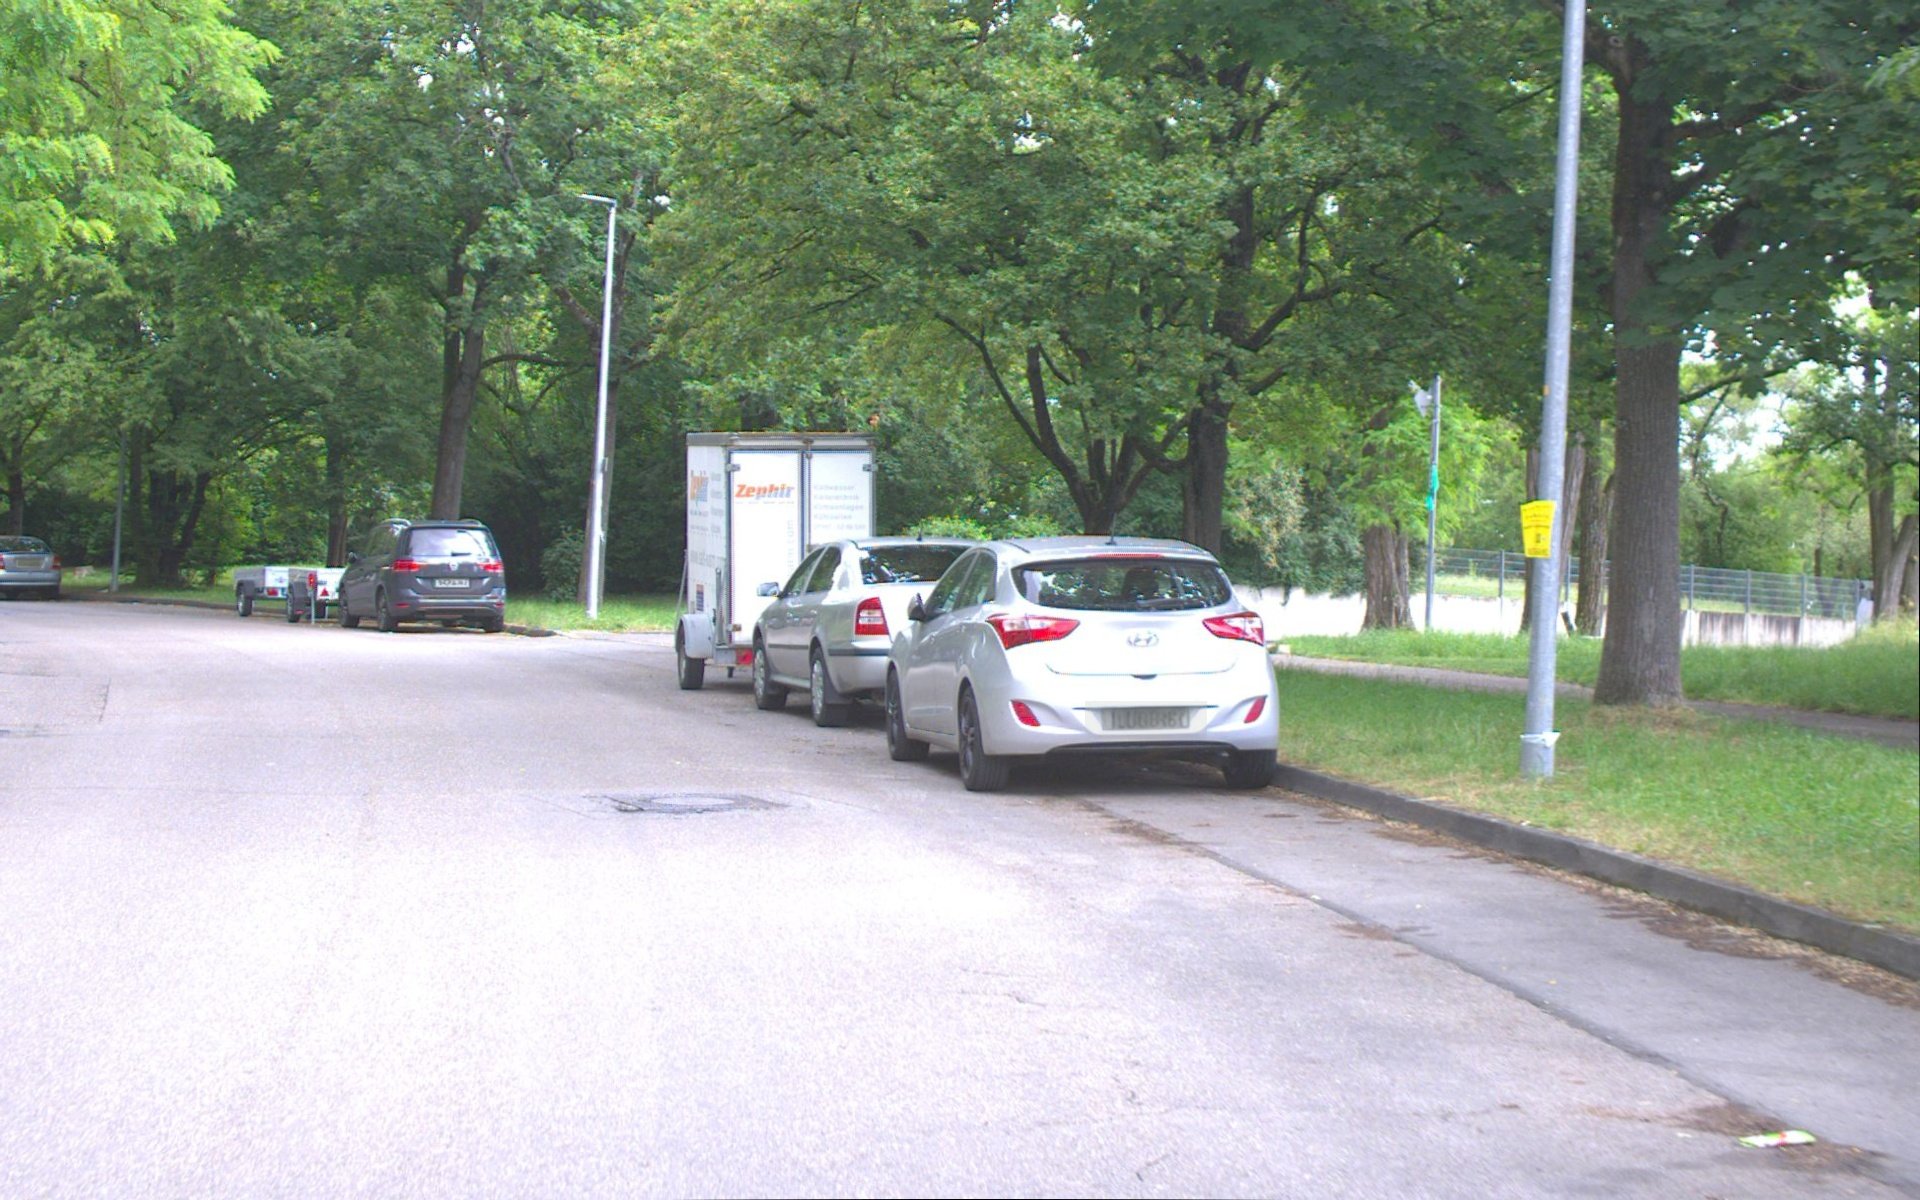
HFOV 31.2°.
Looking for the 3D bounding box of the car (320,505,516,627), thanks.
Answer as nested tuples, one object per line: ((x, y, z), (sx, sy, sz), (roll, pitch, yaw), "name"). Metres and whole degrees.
((-8.098, -0.508, 51.027), (1.775, 1.657, 4.842), (2, 0, -22), "car")

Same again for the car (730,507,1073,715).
((-0.570, 0.046, 27.537), (1.740, 1.520, 4.637), (0, 1, -14), "car")

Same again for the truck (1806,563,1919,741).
((23.749, 1.357, 81.693), (2.696, 3.984, 9.547), (1, -2, 43), "truck")

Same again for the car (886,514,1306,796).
((0.711, 0.278, 20.907), (1.902, 1.471, 4.060), (2, 1, -6), "car")

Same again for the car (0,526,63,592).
((-21.463, -0.906, 76.476), (1.717, 1.426, 3.948), (0, 0, -34), "car")

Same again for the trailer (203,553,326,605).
((-12.372, -0.354, 61.066), (1.363, 0.845, 3.279), (3, -1, -25), "trailer")

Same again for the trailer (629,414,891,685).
((-1.970, -0.484, 32.766), (1.760, 2.418, 3.888), (0, 1, -14), "trailer")

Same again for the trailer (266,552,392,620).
((-10.430, -0.253, 56.676), (1.357, 0.965, 3.894), (3, 1, -20), "trailer")
